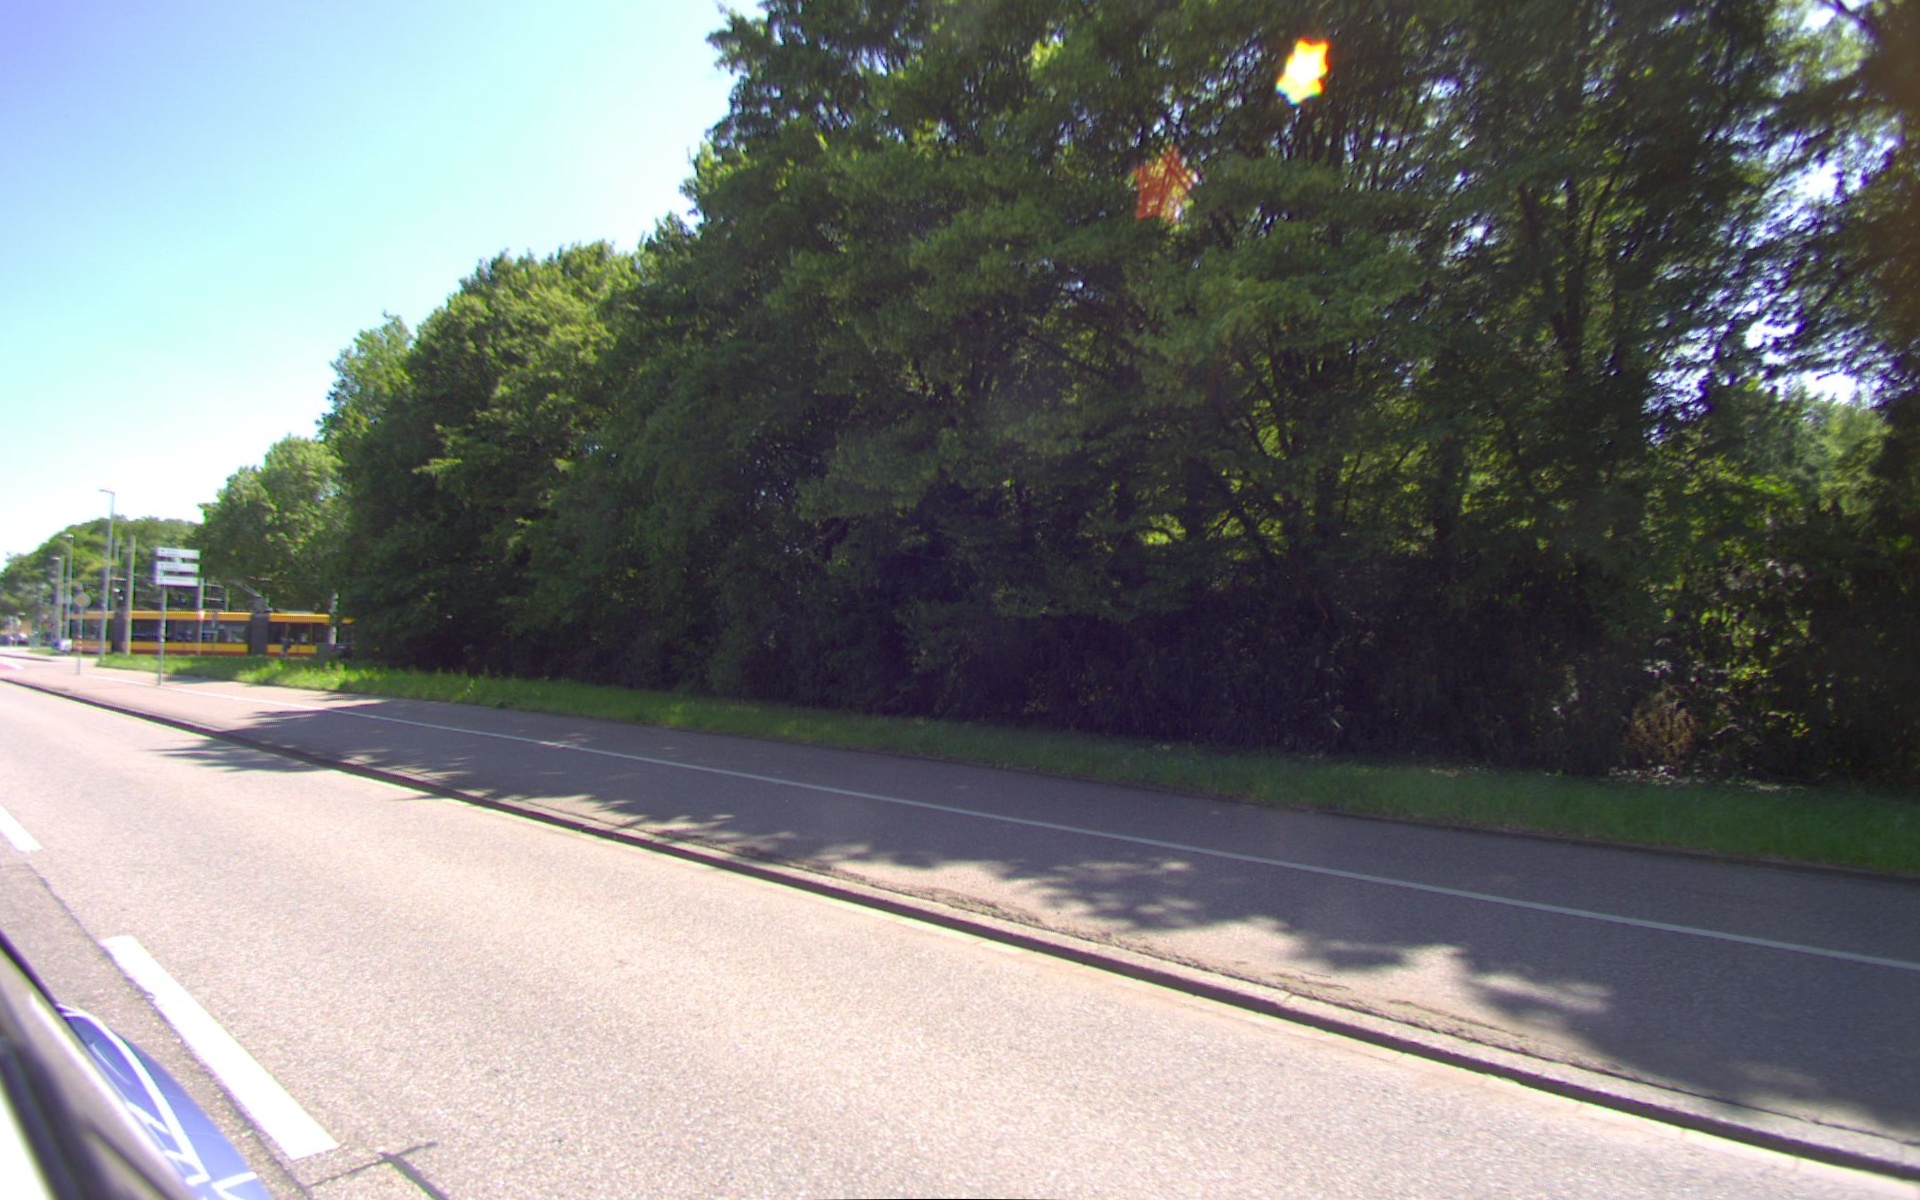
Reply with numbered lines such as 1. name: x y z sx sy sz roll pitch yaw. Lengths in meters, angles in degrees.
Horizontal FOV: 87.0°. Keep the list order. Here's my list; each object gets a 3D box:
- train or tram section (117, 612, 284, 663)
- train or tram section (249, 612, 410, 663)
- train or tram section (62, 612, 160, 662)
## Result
1. train or tram section: -53.589 2.644 71.440 10.730 3.492 2.644 0 -2 9
2. train or tram section: -44.601 2.689 71.921 9.192 3.492 2.791 1 -3 -17
3. train or tram section: -63.179 2.744 75.194 10.824 3.492 2.550 -1 -3 34
